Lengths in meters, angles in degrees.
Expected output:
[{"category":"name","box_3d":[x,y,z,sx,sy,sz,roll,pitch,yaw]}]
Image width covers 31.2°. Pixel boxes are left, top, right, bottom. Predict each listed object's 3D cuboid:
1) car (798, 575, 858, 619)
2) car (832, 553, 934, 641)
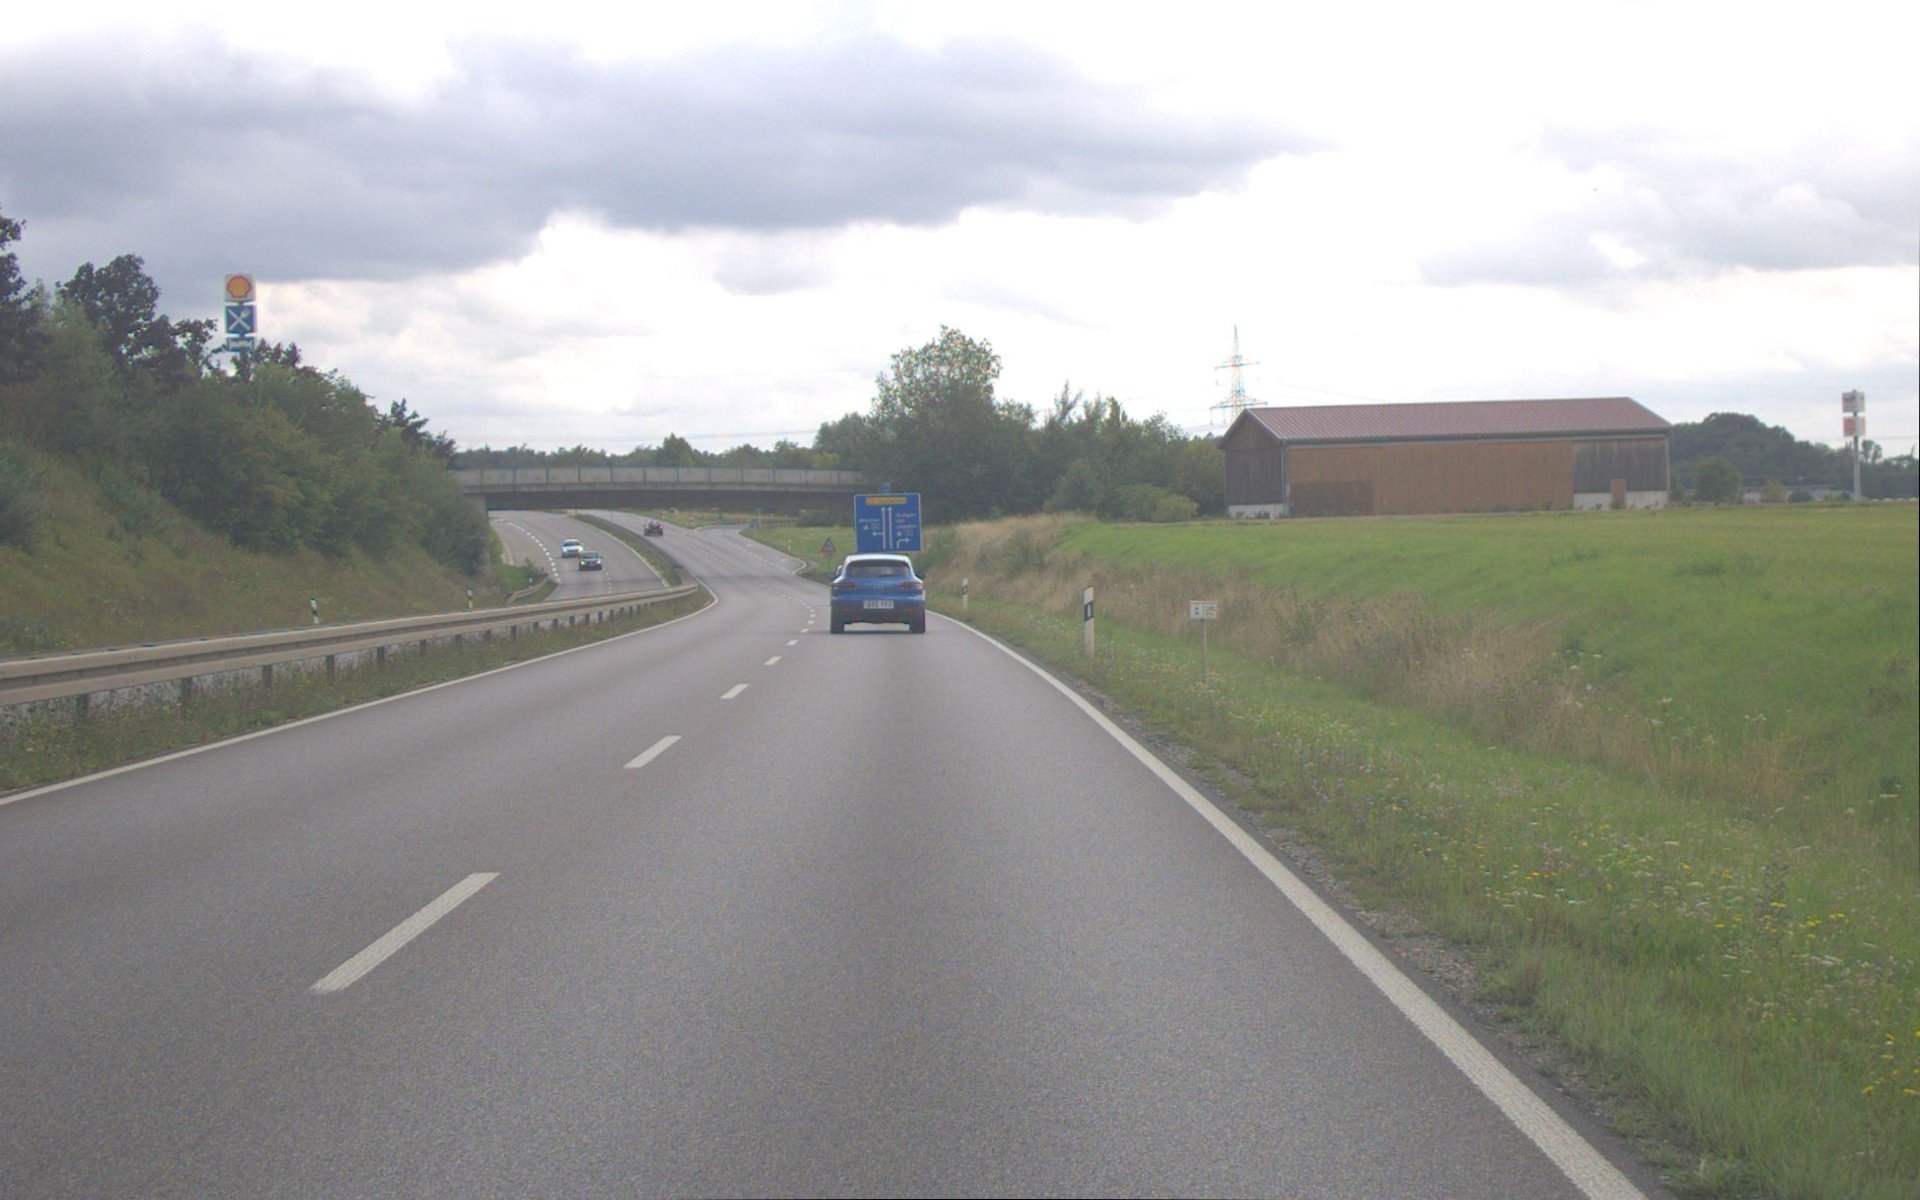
[{"category":"car","box_3d":[-4.842,-0.120,125.599,1.917,1.448,4.365,-2,2,-5]},{"category":"car","box_3d":[-1.620,-0.090,71.049,2.033,1.654,4.544,0,2,-2]}]
